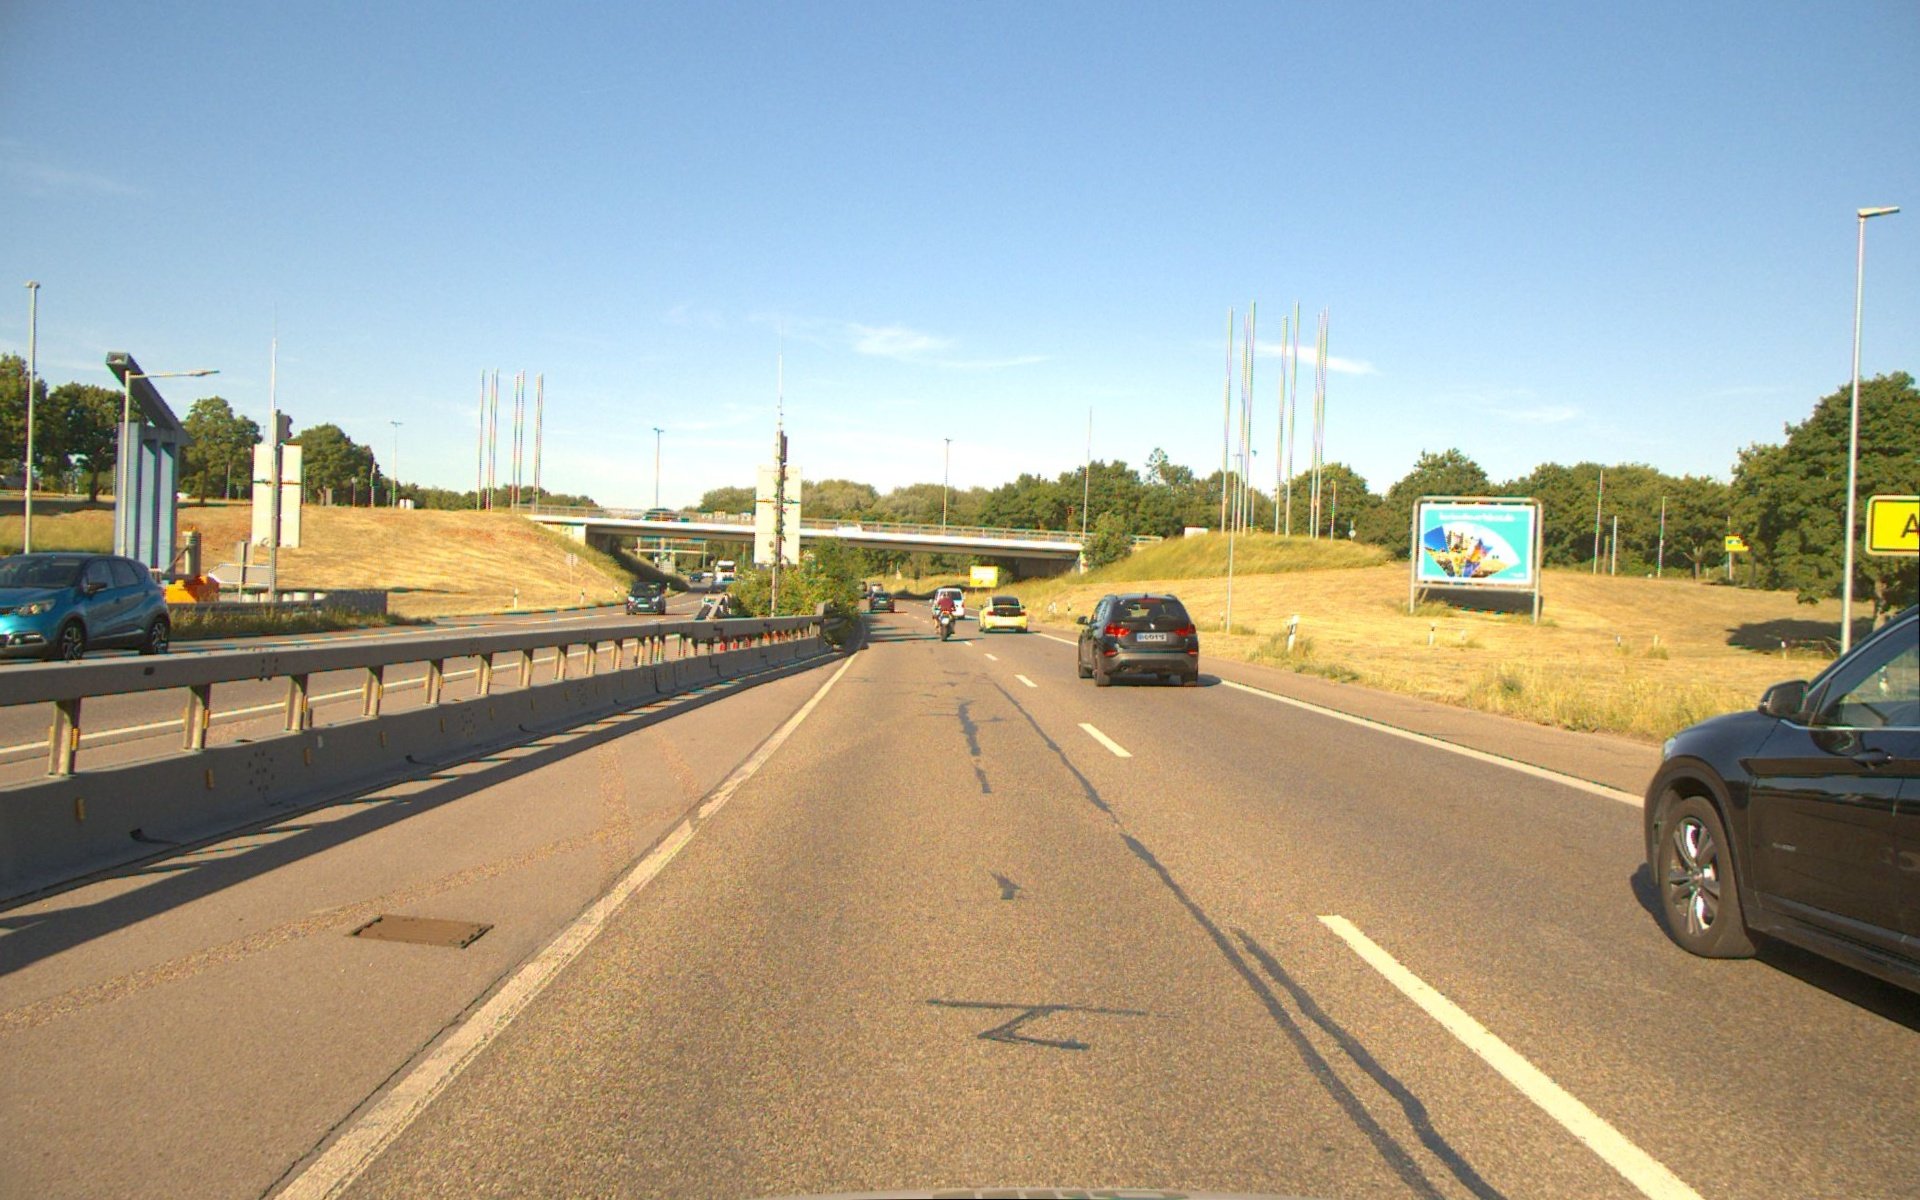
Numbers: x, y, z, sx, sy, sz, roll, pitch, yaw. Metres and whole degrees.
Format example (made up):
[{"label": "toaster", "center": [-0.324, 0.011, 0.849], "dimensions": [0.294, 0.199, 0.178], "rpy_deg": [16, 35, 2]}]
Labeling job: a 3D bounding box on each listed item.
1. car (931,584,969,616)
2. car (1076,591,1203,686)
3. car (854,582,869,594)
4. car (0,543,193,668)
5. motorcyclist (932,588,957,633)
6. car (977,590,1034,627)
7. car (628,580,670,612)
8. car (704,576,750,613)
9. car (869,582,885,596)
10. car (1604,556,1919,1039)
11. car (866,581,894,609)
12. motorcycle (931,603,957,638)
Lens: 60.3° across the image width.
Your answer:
[{"label": "car", "center": [-0.617, -0.029, 96.354], "dimensions": [1.860, 1.798, 3.996], "rpy_deg": [0, 1, -5]}, {"label": "car", "center": [3.107, 0.627, 29.440], "dimensions": [1.664, 1.532, 4.578], "rpy_deg": [-1, 0, -1]}, {"label": "car", "center": [-13.840, -1.671, 232.586], "dimensions": [1.831, 1.714, 3.999], "rpy_deg": [2, 0, -1]}, {"label": "car", "center": [-12.596, 0.051, 23.361], "dimensions": [1.639, 1.600, 4.319], "rpy_deg": [1, 0, -2]}, {"label": "motorcyclist", "center": [-0.518, 0.334, 55.448], "dimensions": [0.800, 1.472, 1.094], "rpy_deg": [1, 1, 1]}, {"label": "car", "center": [1.845, 0.333, 68.057], "dimensions": [1.860, 1.496, 3.996], "rpy_deg": [0, 0, -5]}, {"label": "car", "center": [-14.965, -0.217, 79.672], "dimensions": [1.577, 1.511, 3.390], "rpy_deg": [1, 0, -4]}, {"label": "car", "center": [-10.389, -0.252, 73.902], "dimensions": [1.682, 1.602, 4.160], "rpy_deg": [1, 1, -4]}, {"label": "car", "center": [-10.789, -1.434, 214.808], "dimensions": [1.831, 1.714, 3.999], "rpy_deg": [2, 0, -1]}, {"label": "car", "center": [4.036, 0.659, 5.755], "dimensions": [1.720, 1.600, 4.519], "rpy_deg": [1, 1, -2]}, {"label": "car", "center": [-5.647, -0.359, 115.944], "dimensions": [1.859, 1.797, 3.997], "rpy_deg": [2, 1, -4]}, {"label": "motorcycle", "center": [-0.518, 0.684, 55.702], "dimensions": [0.800, 1.088, 2.836], "rpy_deg": [1, 1, 1]}]
